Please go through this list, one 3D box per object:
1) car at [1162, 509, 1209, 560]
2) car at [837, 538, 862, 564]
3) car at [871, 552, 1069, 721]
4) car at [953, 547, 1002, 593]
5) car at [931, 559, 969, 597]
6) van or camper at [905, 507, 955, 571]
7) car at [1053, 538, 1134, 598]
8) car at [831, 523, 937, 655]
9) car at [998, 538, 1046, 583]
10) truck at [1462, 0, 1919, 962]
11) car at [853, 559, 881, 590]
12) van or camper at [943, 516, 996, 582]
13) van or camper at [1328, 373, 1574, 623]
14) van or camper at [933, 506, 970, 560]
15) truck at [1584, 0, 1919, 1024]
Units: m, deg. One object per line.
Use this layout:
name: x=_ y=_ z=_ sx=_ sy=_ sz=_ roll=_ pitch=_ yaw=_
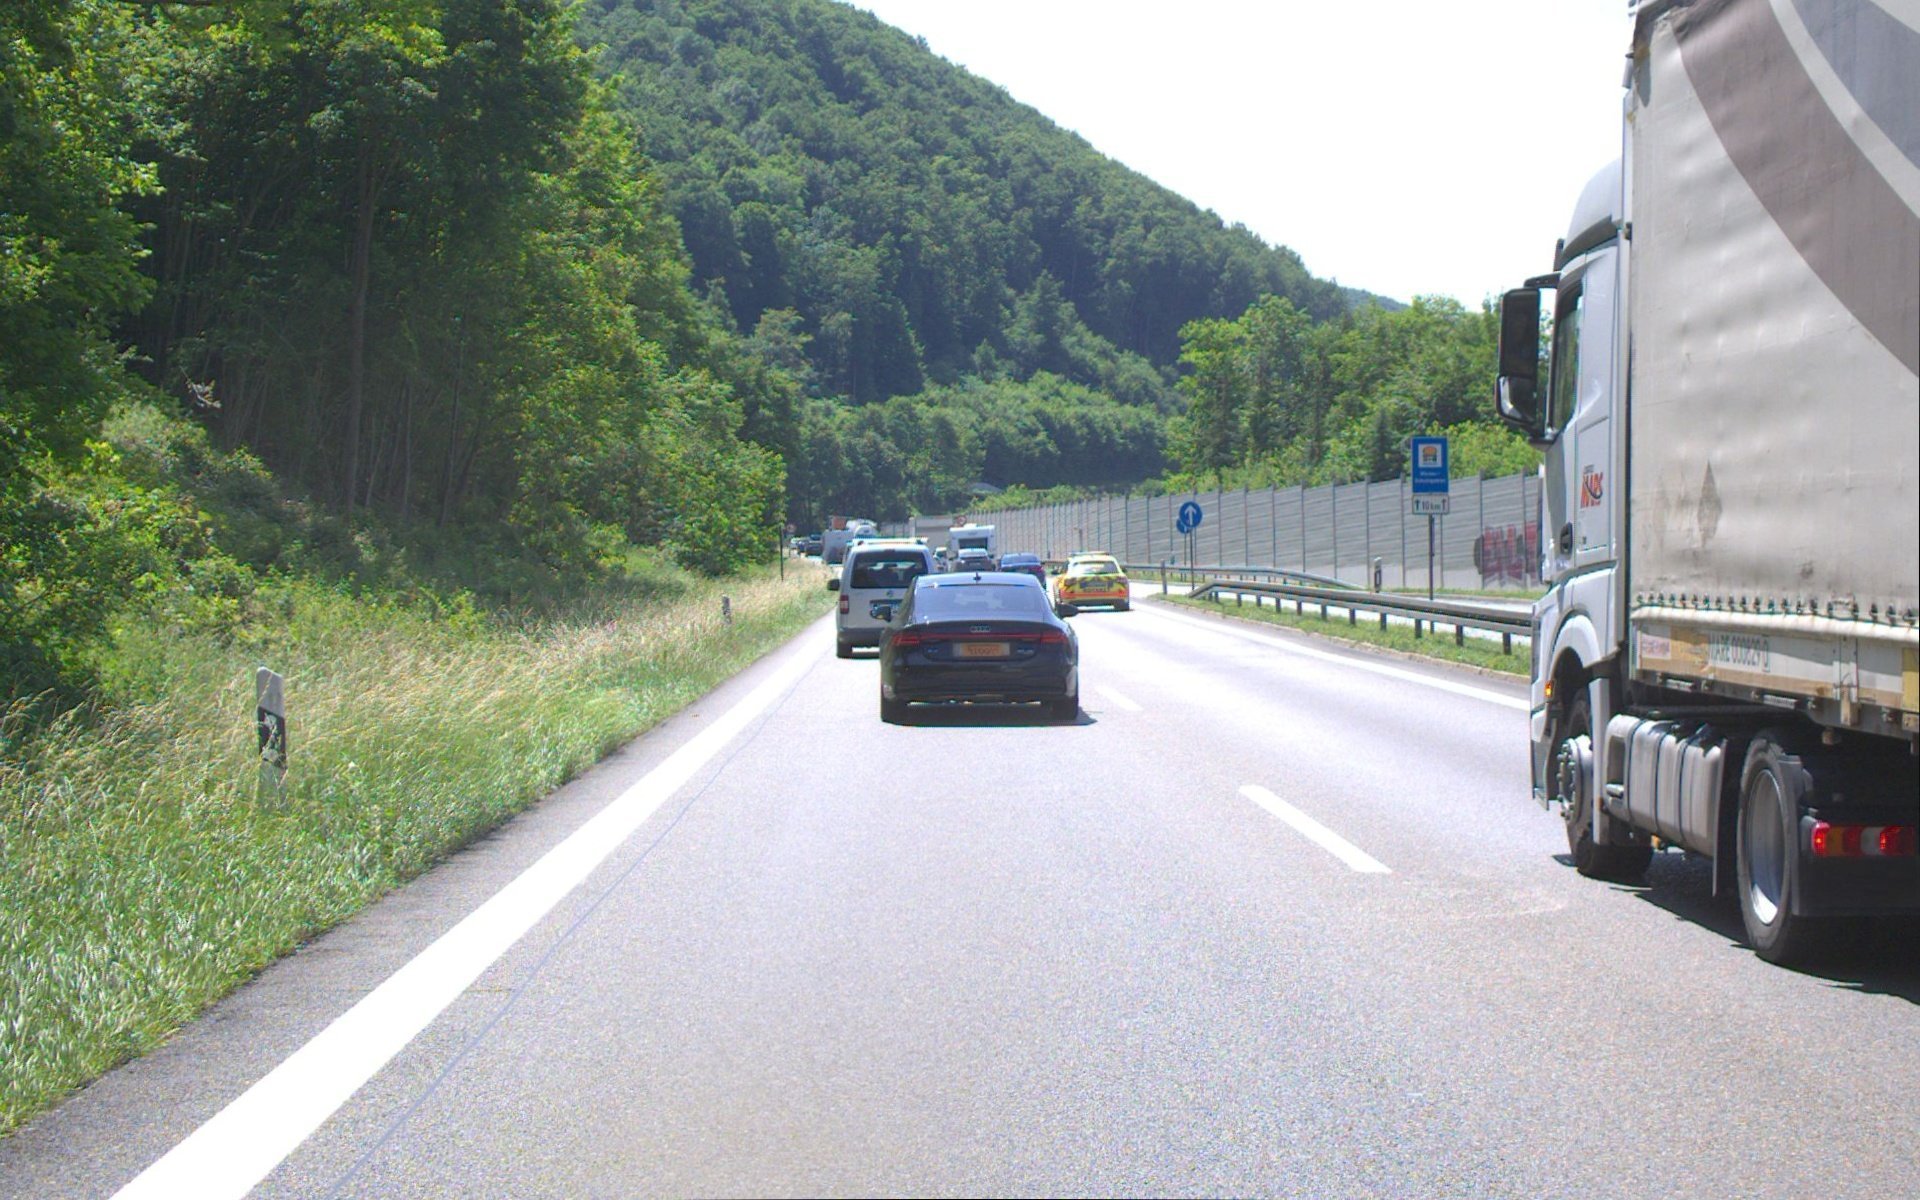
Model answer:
car: x=8.961 y=-2.591 z=136.830 sx=1.576 sy=2.007 sz=3.428 roll=1 pitch=1 yaw=-1
car: x=-7.008 y=-3.109 z=218.087 sx=1.489 sy=1.491 sz=3.590 roll=3 pitch=0 yaw=-1
car: x=0.056 y=0.311 z=33.318 sx=1.812 sy=1.509 sz=3.515 roll=0 pitch=1 yaw=-1
car: x=0.799 y=-1.393 z=160.218 sx=2.086 sy=2.007 sz=4.000 roll=3 pitch=0 yaw=-1
car: x=-0.458 y=-0.944 z=148.397 sx=1.530 sy=1.520 sz=3.597 roll=3 pitch=0 yaw=-1
van or camper: x=-1.937 y=-3.887 z=221.421 sx=2.794 sy=3.894 sz=6.167 roll=3 pitch=0 yaw=-3
car: x=3.485 y=-0.845 z=90.307 sx=1.879 sy=1.493 sz=4.000 roll=1 pitch=1 yaw=-1
car: x=-1.224 y=-0.180 z=55.362 sx=1.521 sy=1.961 sz=3.514 roll=4 pitch=0 yaw=-1
car: x=2.222 y=-1.404 z=123.341 sx=1.530 sy=1.520 sz=3.597 roll=3 pitch=0 yaw=-1
truck: x=4.185 y=-0.680 z=15.495 sx=2.719 sy=4.054 sz=5.754 roll=2 pitch=0 yaw=-2
car: x=-5.228 y=-1.417 z=194.005 sx=1.489 sy=1.659 sz=3.590 roll=3 pitch=0 yaw=-1
van or camper: x=0.458 y=-2.562 z=174.816 sx=2.429 sy=3.144 sz=5.203 roll=3 pitch=0 yaw=-1
van or camper: x=8.109 y=-1.611 z=57.519 sx=2.794 sy=3.828 sz=6.167 roll=3 pitch=0 yaw=-3
van or camper: x=-0.665 y=-4.827 z=250.230 sx=2.448 sy=3.676 sz=6.588 roll=3 pitch=0 yaw=-1
truck: x=4.404 y=-0.688 z=8.448 sx=2.726 sy=4.054 sz=13.742 roll=2 pitch=0 yaw=-2
